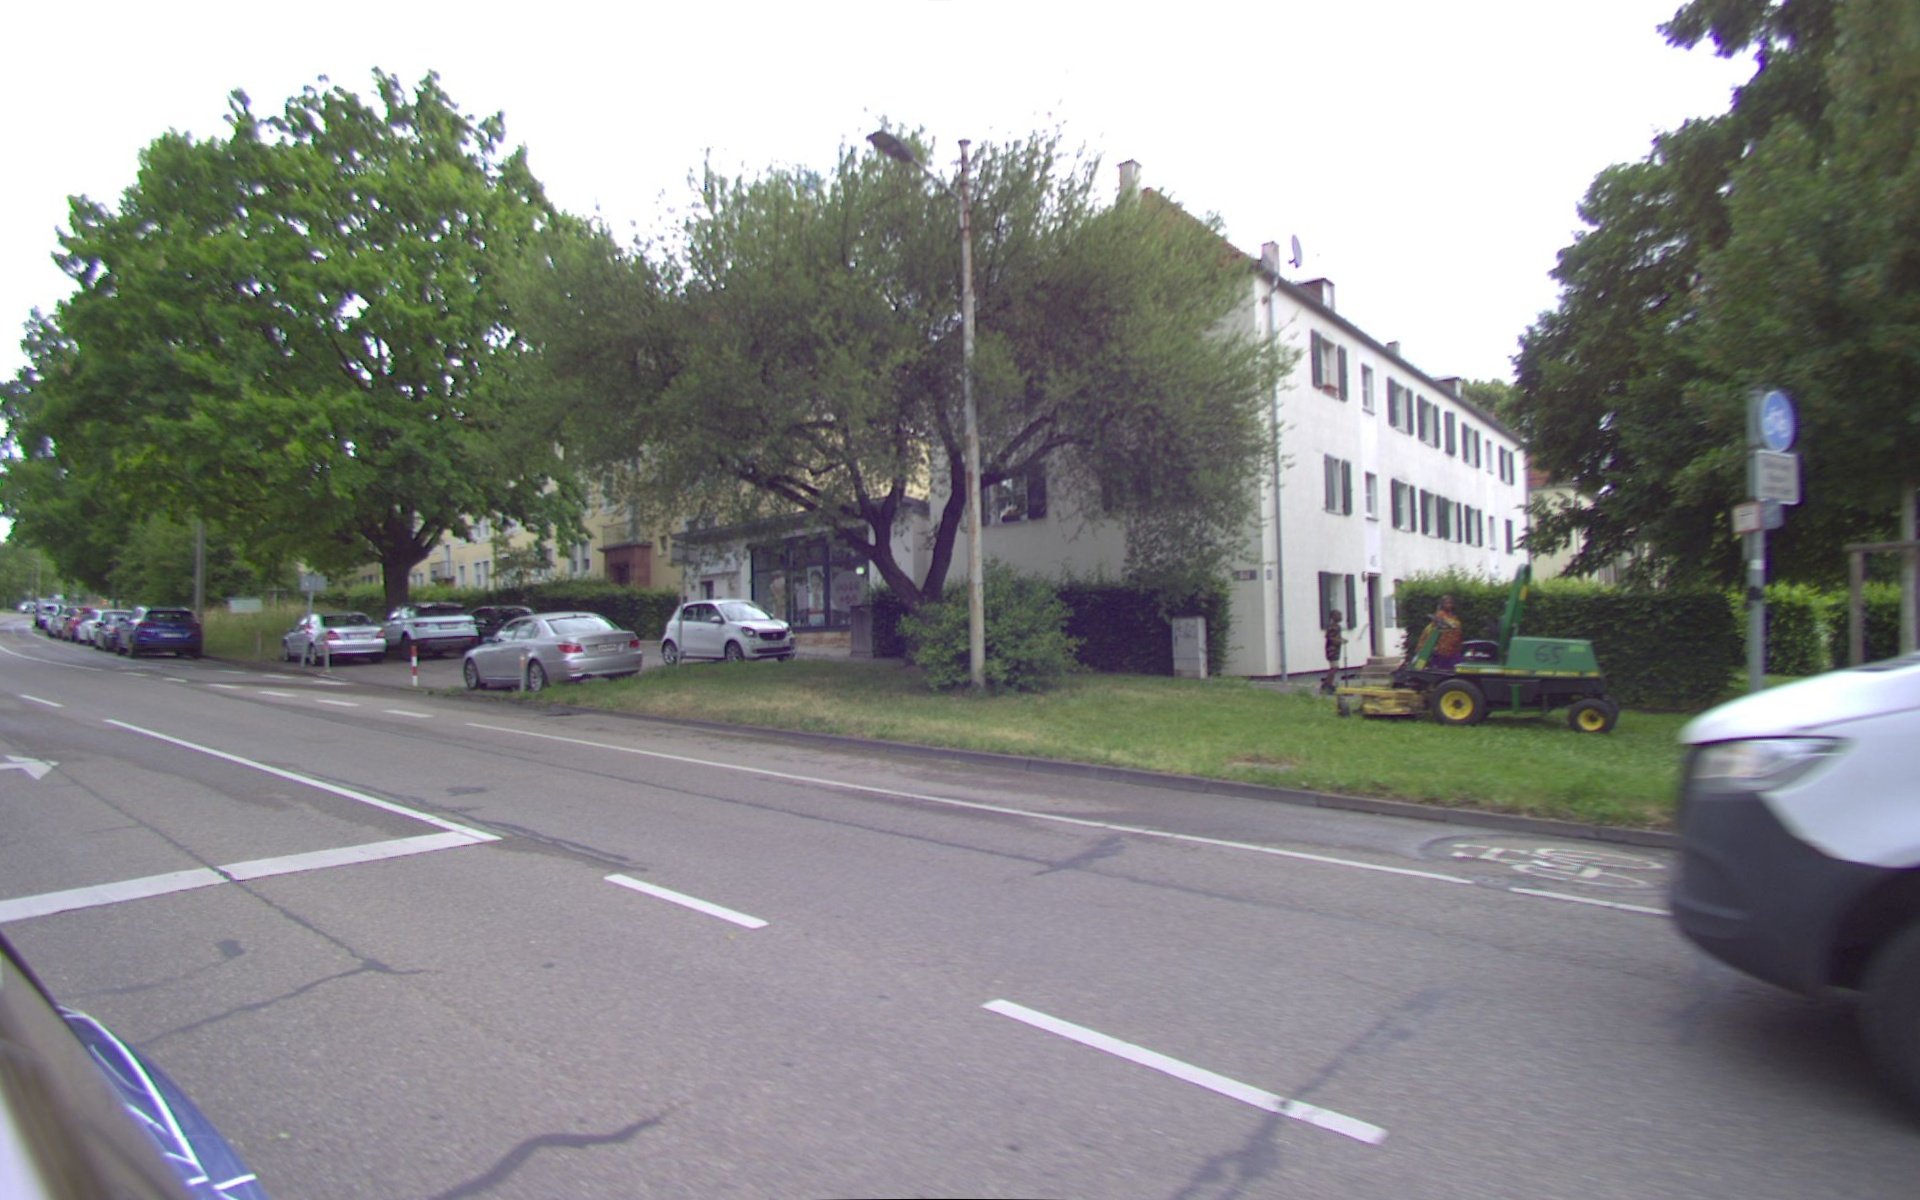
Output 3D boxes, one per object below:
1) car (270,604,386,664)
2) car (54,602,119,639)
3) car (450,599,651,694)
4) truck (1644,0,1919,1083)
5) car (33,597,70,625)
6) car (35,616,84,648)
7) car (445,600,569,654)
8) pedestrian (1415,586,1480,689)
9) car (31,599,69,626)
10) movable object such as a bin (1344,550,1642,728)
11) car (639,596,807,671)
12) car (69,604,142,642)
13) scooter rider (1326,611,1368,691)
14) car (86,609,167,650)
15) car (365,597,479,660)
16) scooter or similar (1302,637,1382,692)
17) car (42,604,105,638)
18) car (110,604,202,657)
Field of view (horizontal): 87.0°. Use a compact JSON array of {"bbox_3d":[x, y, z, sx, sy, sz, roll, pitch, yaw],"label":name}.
[{"bbox_3d":[-17.709,0.895,28.258,4.393,1.547,1.742,-1,0,44],"label":"car"},{"bbox_3d":[-38.930,0.867,45.059,4.370,1.585,1.697,0,0,43],"label":"car"},{"bbox_3d":[-8.081,0.817,19.727,4.751,1.645,1.743,-1,0,42],"label":"car"},{"bbox_3d":[5.632,-0.317,1.476,2.500,3.332,7.262,1,-1,-41],"label":"truck"},{"bbox_3d":[-65.229,0.809,72.637,1.844,1.978,5.132,1,-1,-43],"label":"car"},{"bbox_3d":[-46.891,1.641,52.661,1.746,1.585,4.764,2,-2,-43],"label":"car"},{"bbox_3d":[-13.827,0.779,30.794,4.439,1.481,1.743,-1,2,42],"label":"car"},{"bbox_3d":[7.918,0.590,16.440,0.829,1.625,0.624,-1,-1,38],"label":"pedestrian"},{"bbox_3d":[-57.958,0.790,64.452,1.745,1.646,4.163,1,-1,-42],"label":"car"},{"bbox_3d":[6.427,0.429,12.349,3.024,1.918,1.204,-1,-1,41],"label":"movable object such as a bin"},{"bbox_3d":[-5.738,0.750,24.227,4.286,1.645,1.743,-1,0,41],"label":"car"},{"bbox_3d":[-35.152,0.920,41.580,4.756,1.470,1.697,0,0,43],"label":"car"},{"bbox_3d":[6.352,0.825,16.602,0.559,1.286,0.347,-1,-1,41],"label":"scooter rider"},{"bbox_3d":[-30.568,1.040,37.054,4.338,1.400,1.696,0,-1,43],"label":"car"},{"bbox_3d":[-15.826,0.793,29.675,4.001,1.645,1.742,-1,2,44],"label":"car"},{"bbox_3d":[6.279,1.042,16.678,1.201,0.850,0.322,-1,-1,42],"label":"scooter or similar"},{"bbox_3d":[-42.693,0.988,48.699,4.120,1.585,1.848,0,0,43],"label":"car"},{"bbox_3d":[-26.663,1.007,33.501,4.534,1.625,1.697,-2,-2,43],"label":"car"}]
